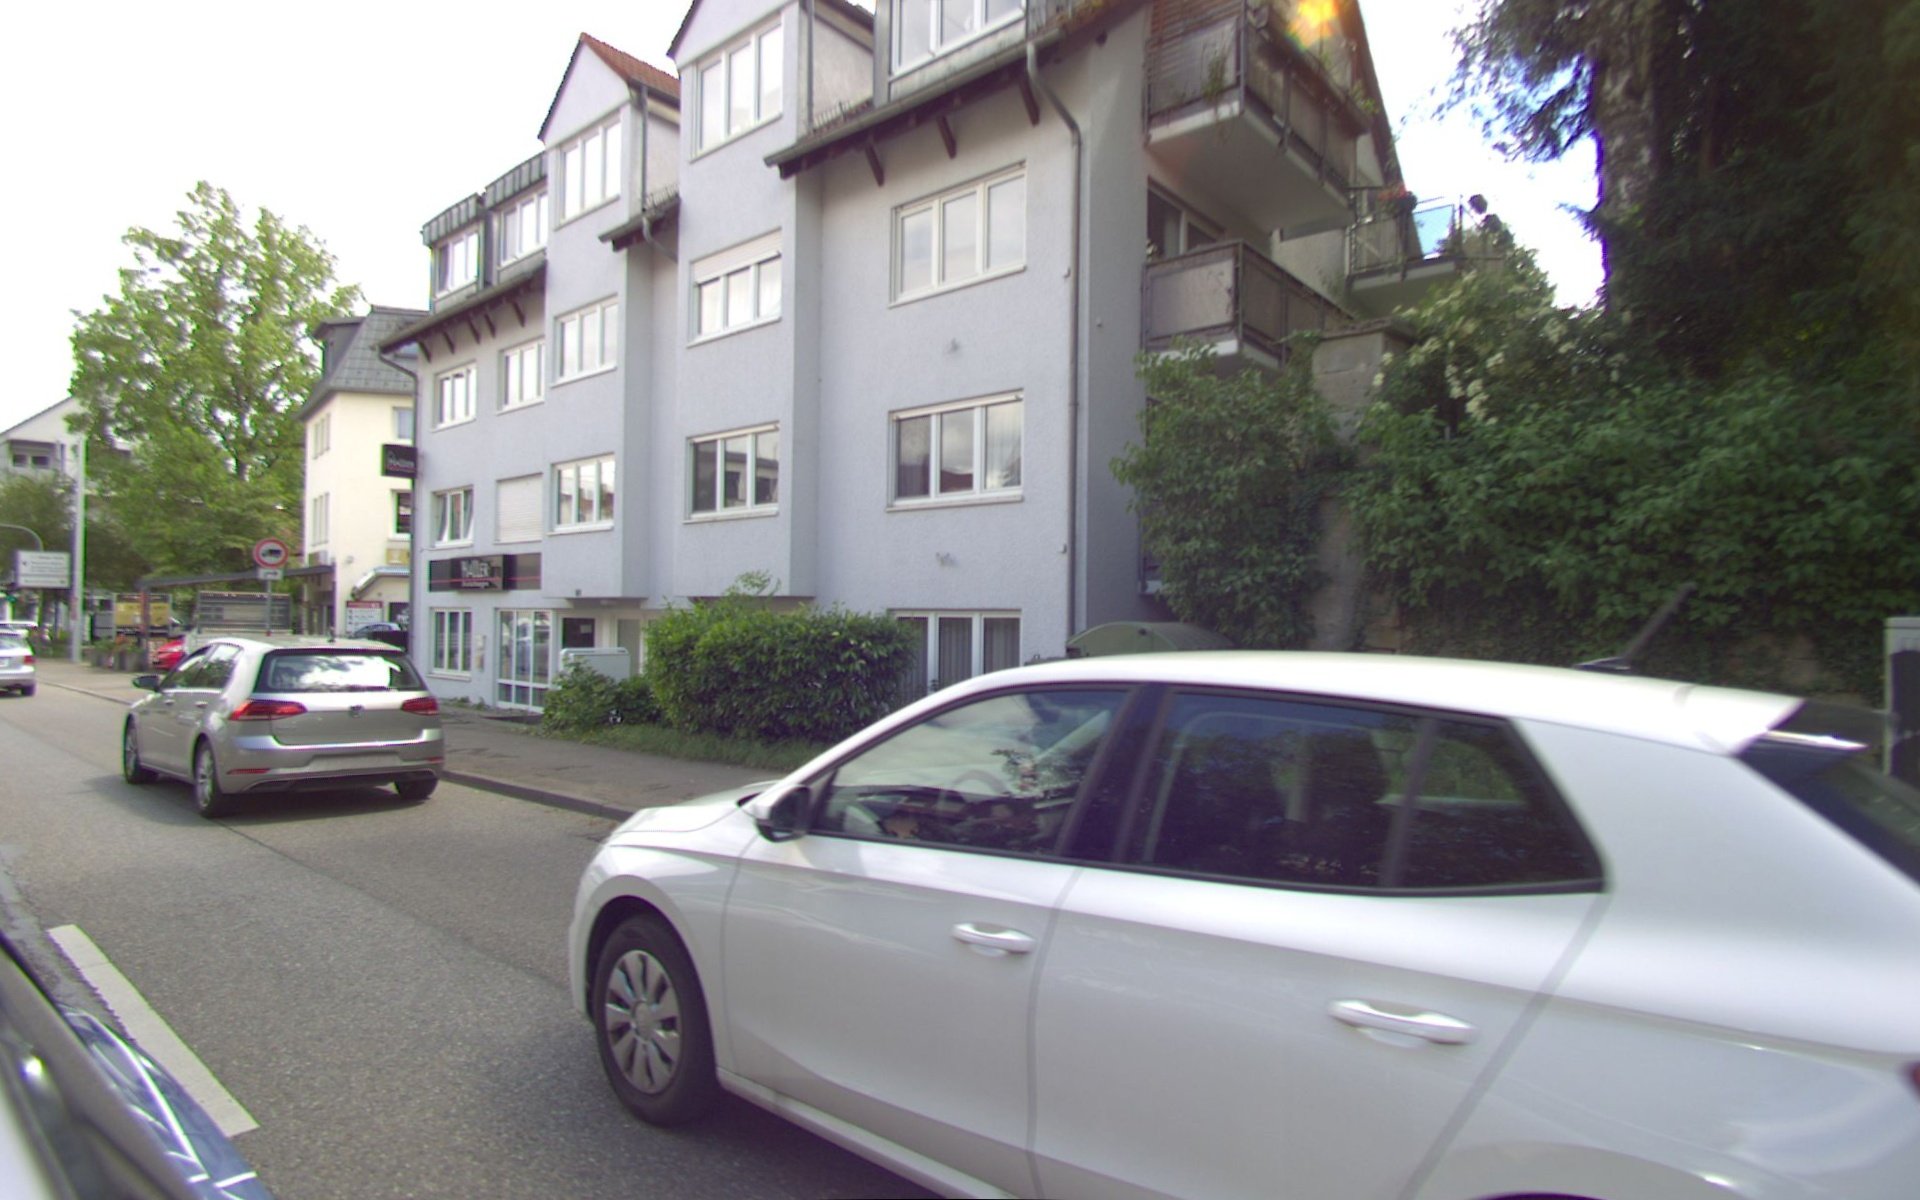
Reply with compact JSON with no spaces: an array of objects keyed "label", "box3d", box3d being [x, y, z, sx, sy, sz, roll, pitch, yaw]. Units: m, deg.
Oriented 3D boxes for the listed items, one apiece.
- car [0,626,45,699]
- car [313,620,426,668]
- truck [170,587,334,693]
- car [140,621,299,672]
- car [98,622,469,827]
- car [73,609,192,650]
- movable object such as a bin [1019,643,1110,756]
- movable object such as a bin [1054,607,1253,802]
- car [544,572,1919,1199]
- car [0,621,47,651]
[{"label":"car","box3d":[-21.765,1.334,22.320,4.372,1.514,1.711,-1,-4,40]},{"label":"car","box3d":[-19.065,1.414,32.779,2.801,1.481,1.570,1,-1,-11]},{"label":"truck","box3d":[-18.149,0.918,25.793,6.326,2.398,2.200,0,-1,43]},{"label":"car","box3d":[-22.943,1.397,31.452,1.802,1.436,3.659,-1,-1,37]},{"label":"car","box3d":[-6.429,0.987,9.429,4.283,1.467,1.692,-1,-4,40]},{"label":"car","box3d":[-43.990,1.539,53.907,2.092,2.024,4.577,-1,-1,37]},{"label":"movable object such as a bin","box3d":[1.085,1.001,10.465,0.712,1.084,0.634,0,-1,40]},{"label":"movable object such as a bin","box3d":[1.622,0.777,8.386,1.211,1.438,1.319,0,0,34]},{"label":"car","box3d":[0.743,0.756,2.629,3.967,1.450,1.741,-2,-4,41]},{"label":"car","box3d":[-49.838,1.871,51.963,1.820,1.525,4.169,-2,-2,40]}]
